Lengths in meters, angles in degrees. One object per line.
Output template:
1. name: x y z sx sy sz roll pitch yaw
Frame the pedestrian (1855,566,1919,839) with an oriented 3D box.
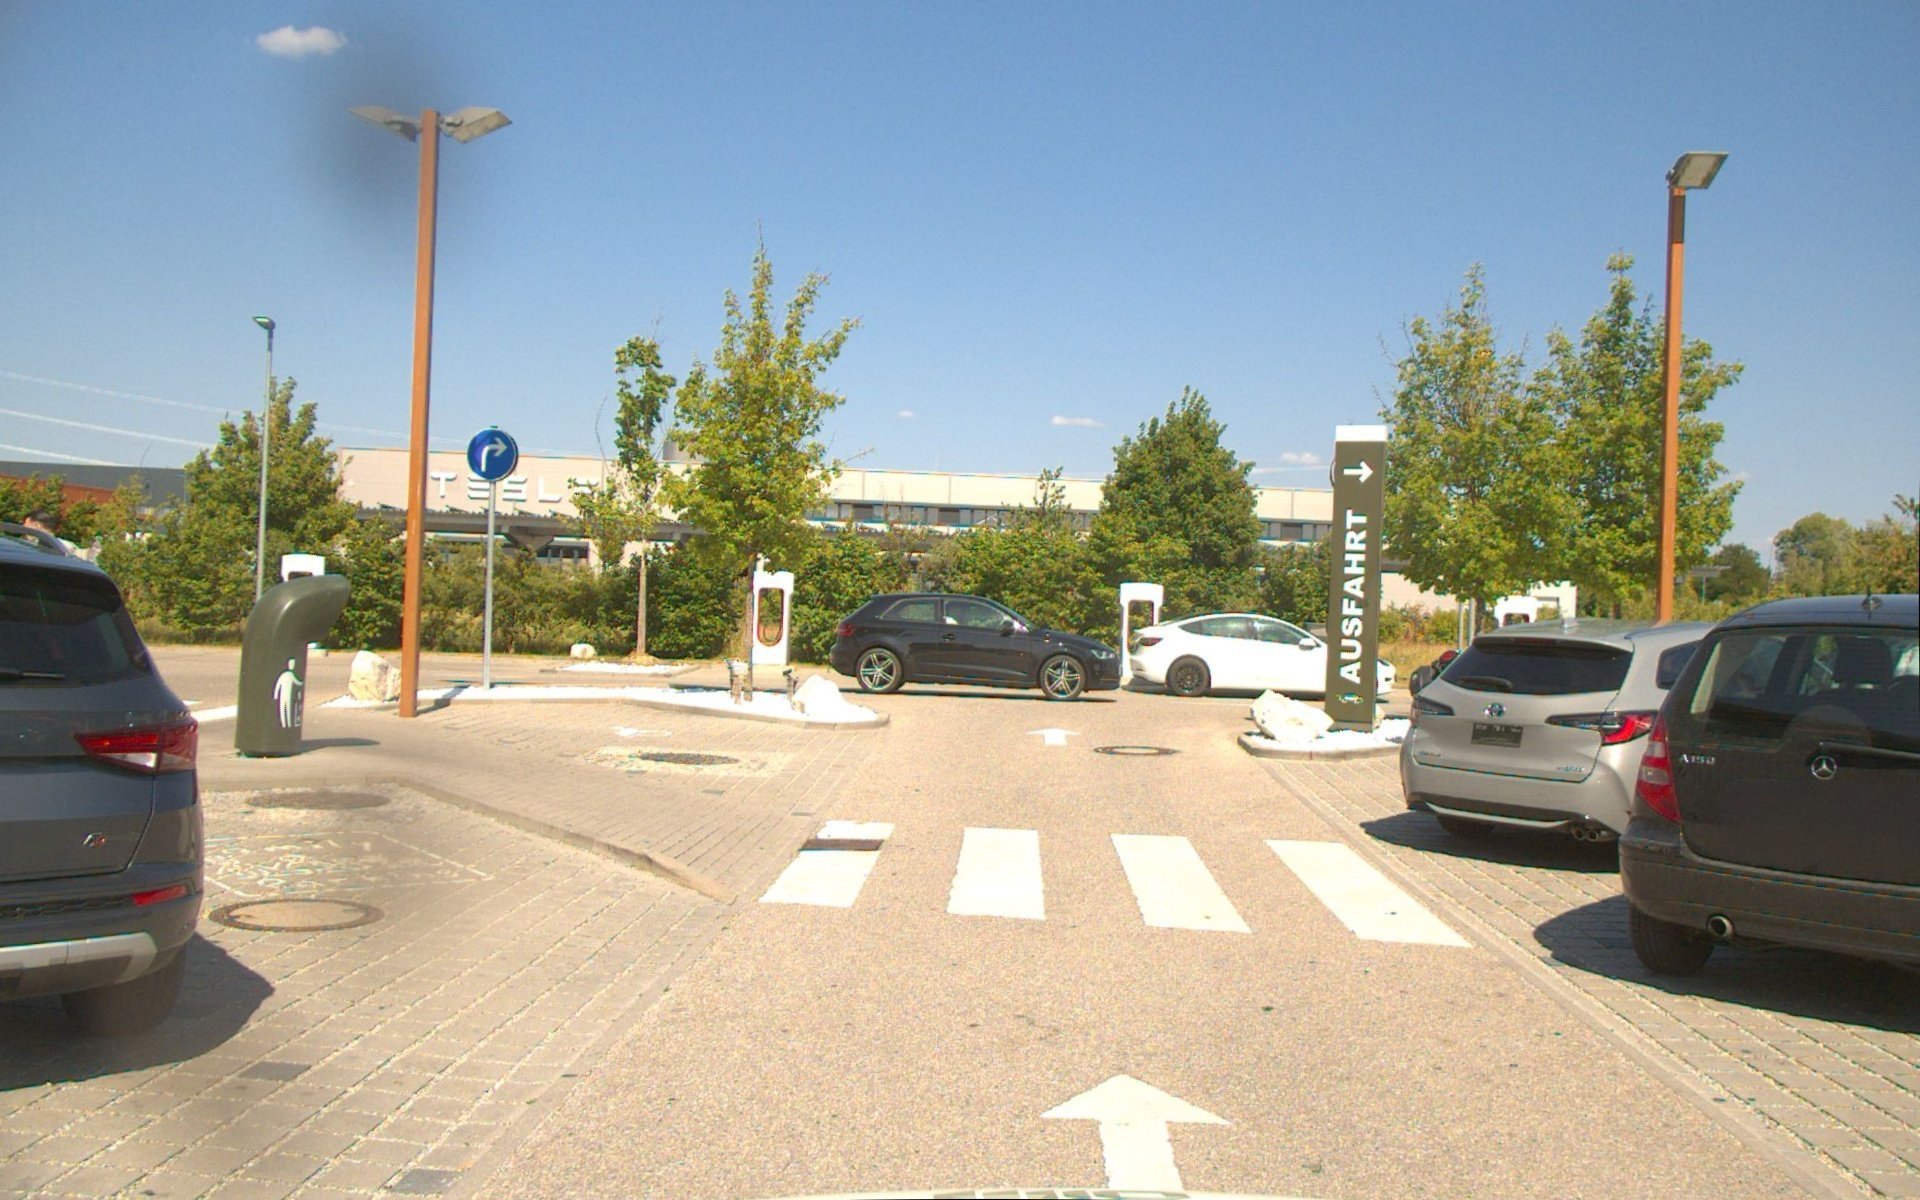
1. pedestrian: 6.320 0.661 10.823 0.557 1.743 0.603 2 0 -35

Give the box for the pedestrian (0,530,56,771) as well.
1. pedestrian: -6.738 0.331 11.219 0.711 1.611 0.742 2 0 12

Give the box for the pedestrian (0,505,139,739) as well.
1. pedestrian: -7.186 0.169 13.255 0.785 1.799 0.895 1 0 -7

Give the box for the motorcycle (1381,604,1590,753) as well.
1. motorcycle: 5.127 0.708 16.055 1.053 1.272 2.237 3 2 43

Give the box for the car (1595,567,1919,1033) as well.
1. car: 4.562 0.738 7.410 1.782 1.621 3.972 1 0 44

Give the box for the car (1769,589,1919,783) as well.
1. car: 9.094 0.720 15.224 1.863 1.563 4.164 1 1 42

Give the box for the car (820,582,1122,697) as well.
1. car: 0.203 0.574 23.535 4.112 1.466 1.699 1 -2 3

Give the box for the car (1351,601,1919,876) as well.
1. car: 4.810 0.780 11.293 4.620 1.472 1.809 1 0 -41

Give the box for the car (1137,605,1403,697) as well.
1. car: 5.275 0.855 28.606 4.341 1.401 1.823 2 0 5

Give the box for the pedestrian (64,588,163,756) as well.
1. pedestrian: -6.246 0.519 12.217 0.480 1.207 0.448 1 0 -4

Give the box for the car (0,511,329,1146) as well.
1. car: -3.969 0.468 5.649 1.778 1.631 4.159 5 0 -45
